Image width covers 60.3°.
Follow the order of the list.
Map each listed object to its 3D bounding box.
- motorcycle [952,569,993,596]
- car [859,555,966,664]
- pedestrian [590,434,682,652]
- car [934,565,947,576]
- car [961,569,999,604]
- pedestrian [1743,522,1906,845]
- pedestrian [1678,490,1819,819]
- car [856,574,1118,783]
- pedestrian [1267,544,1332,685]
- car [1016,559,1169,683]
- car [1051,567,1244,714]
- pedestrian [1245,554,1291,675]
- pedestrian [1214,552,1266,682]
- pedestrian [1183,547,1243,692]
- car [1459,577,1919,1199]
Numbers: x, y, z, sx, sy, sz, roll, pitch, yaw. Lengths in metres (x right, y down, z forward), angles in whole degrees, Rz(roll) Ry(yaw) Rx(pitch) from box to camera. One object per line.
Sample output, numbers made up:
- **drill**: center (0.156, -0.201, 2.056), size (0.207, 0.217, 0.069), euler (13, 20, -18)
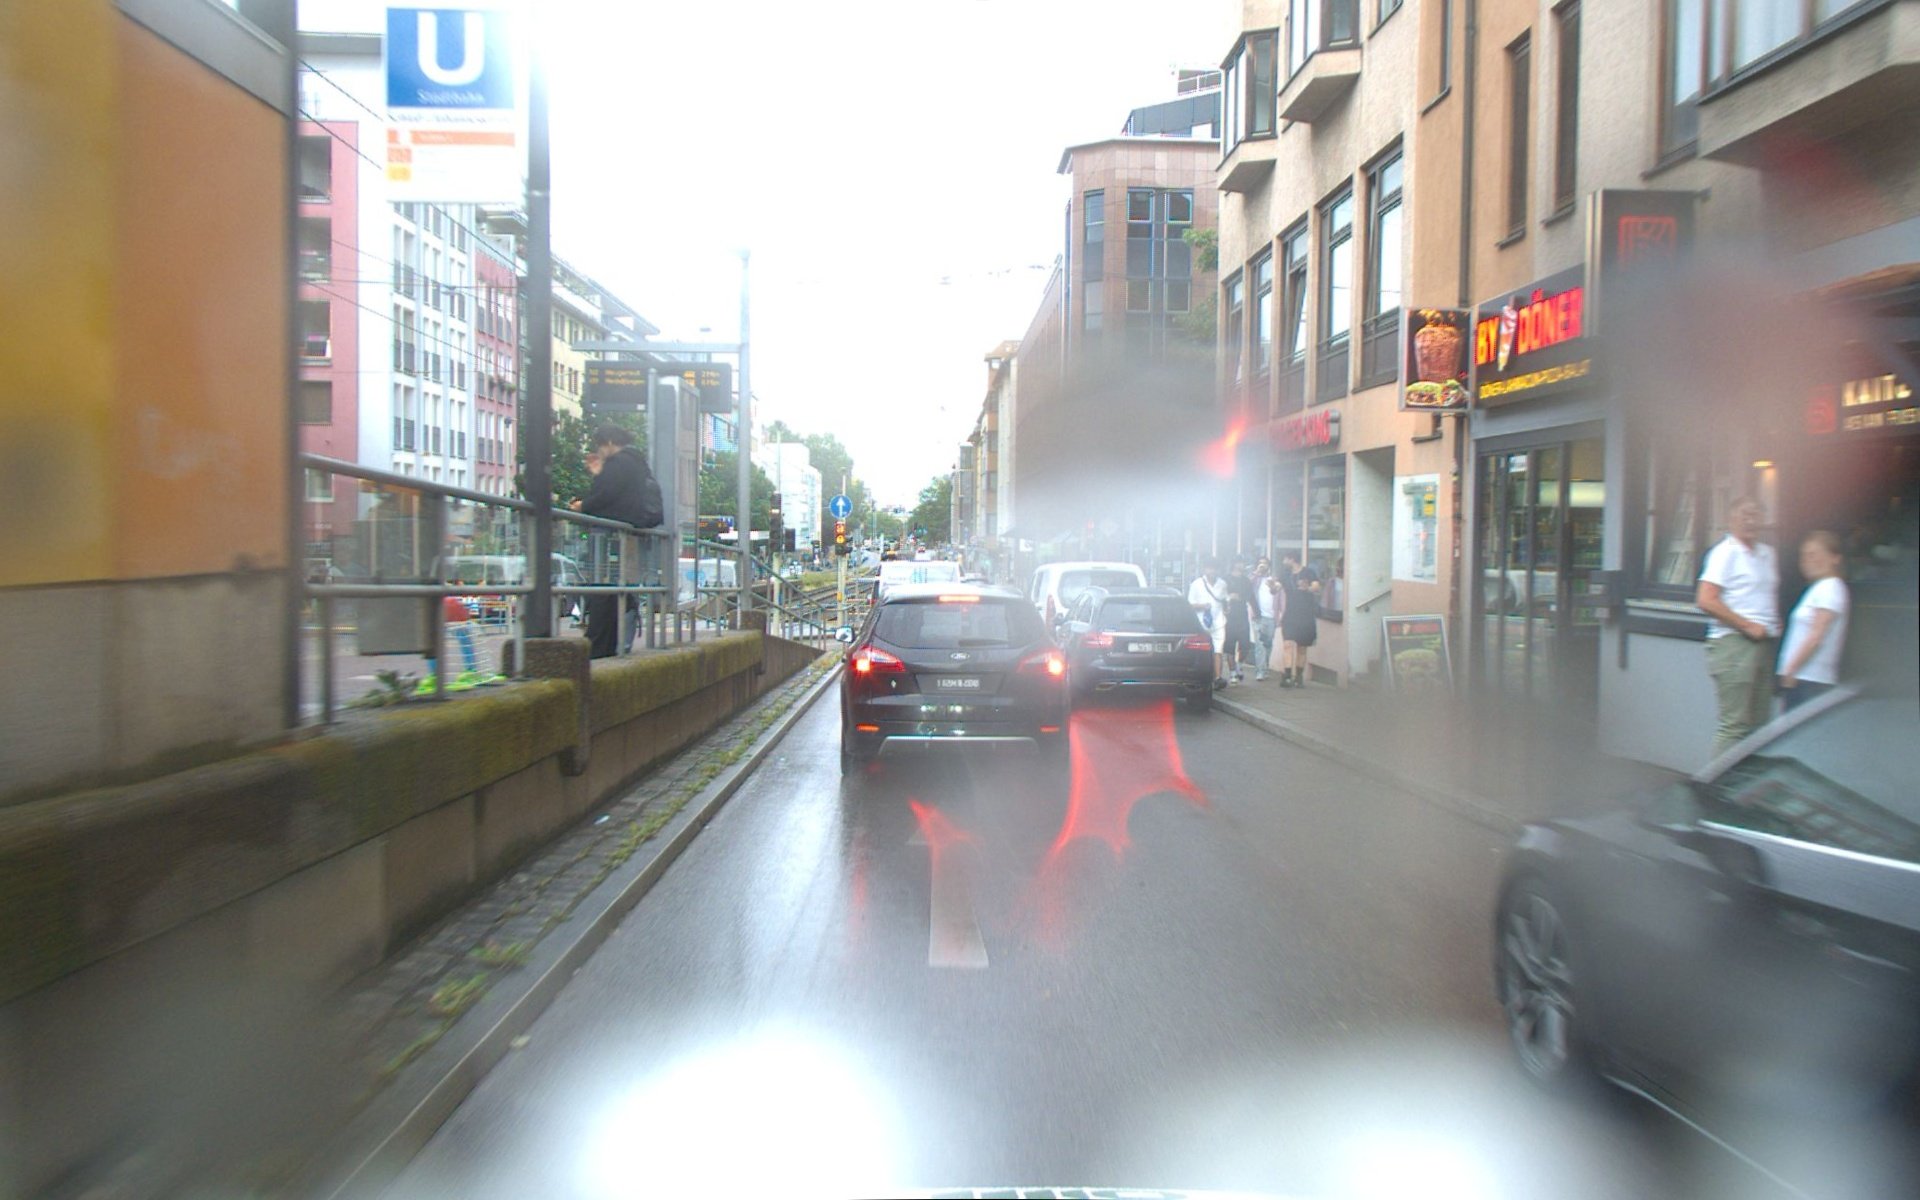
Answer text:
- **motorcycle**: center (0.651, -0.923, 88.570), size (2.040, 1.432, 0.799), euler (-1, 0, 17)
- **car**: center (-0.863, 0.148, 31.305), size (1.868, 1.897, 4.573), euler (0, 0, -1)
- **pedestrian**: center (-2.433, -0.420, 12.459), size (0.572, 1.585, 0.700), euler (-1, 0, -4)
- **car**: center (-2.856, -4.375, 246.760), size (1.867, 1.662, 4.573), euler (0, 0, 0)
- **car**: center (0.897, -0.626, 75.858), size (1.664, 1.505, 3.867), euler (-2, 0, 0)
- **pedestrian**: center (4.754, 0.440, 9.120), size (0.534, 1.710, 0.595), euler (-1, 0, -9)
- **pedestrian**: center (4.673, 0.307, 9.826), size (0.519, 1.891, 0.555), euler (-1, 0, -9)
- **car**: center (0.169, 0.548, 13.533), size (1.868, 1.488, 3.444), euler (0, 0, -1)
- **pedestrian**: center (4.543, 0.187, 22.171), size (0.740, 1.851, 0.588), euler (-1, 0, 0)
- **car**: center (2.047, 0.290, 26.921), size (1.868, 1.838, 4.774), euler (0, 0, -3)
- **car**: center (2.235, 0.441, 20.832), size (1.868, 1.644, 4.413), euler (0, 0, -1)
- **pedestrian**: center (4.498, 0.213, 24.185), size (0.564, 1.744, 0.477), euler (-1, 0, 0)
- **pedestrian**: center (3.829, 0.224, 22.616), size (0.598, 1.744, 0.581), euler (-1, 0, 0)
- **pedestrian**: center (3.346, 0.253, 21.896), size (0.681, 1.887, 0.652), euler (-1, 0, 0)
- **car**: center (2.718, 0.693, 3.606), size (1.868, 1.488, 4.244), euler (0, 0, -2)
